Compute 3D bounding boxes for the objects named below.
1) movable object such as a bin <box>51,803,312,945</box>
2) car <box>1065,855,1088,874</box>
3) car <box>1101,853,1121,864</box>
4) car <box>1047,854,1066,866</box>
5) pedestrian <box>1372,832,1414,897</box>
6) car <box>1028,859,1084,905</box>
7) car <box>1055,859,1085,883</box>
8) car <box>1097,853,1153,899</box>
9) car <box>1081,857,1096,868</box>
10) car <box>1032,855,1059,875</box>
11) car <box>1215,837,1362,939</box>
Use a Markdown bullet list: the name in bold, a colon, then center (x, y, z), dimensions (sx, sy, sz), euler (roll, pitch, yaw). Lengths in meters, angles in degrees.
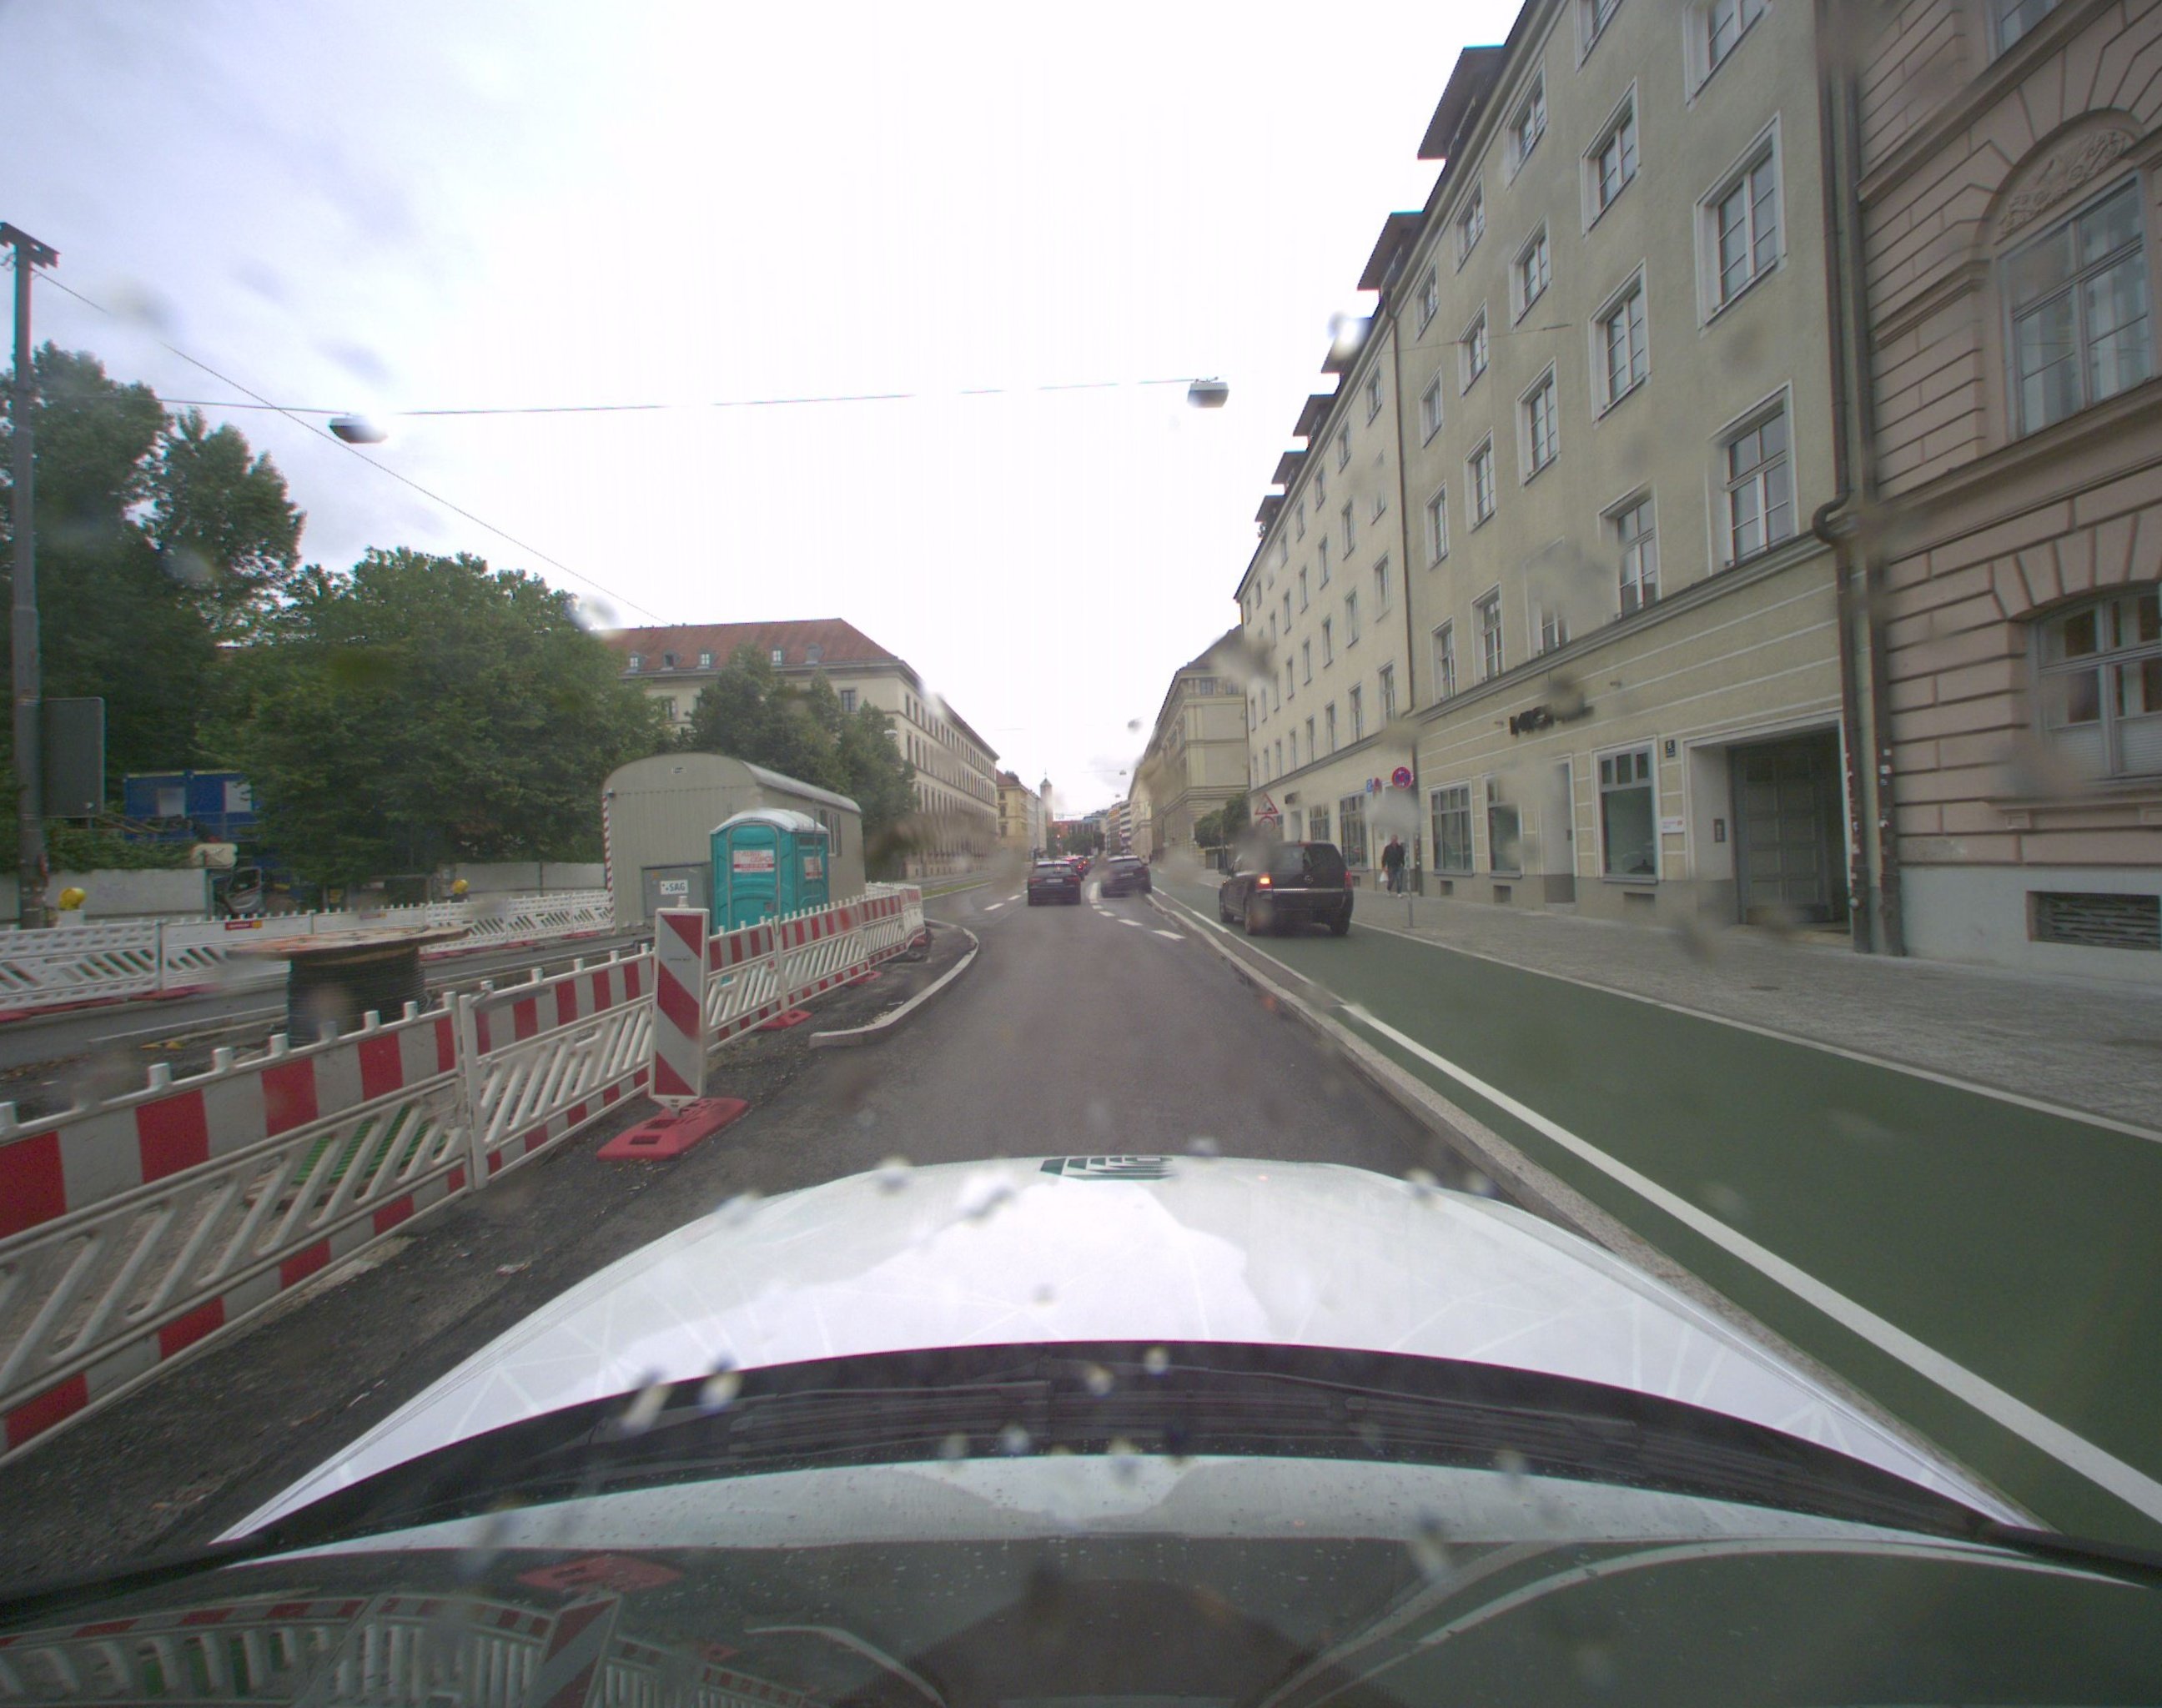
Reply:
- **movable object such as a bin**: center (-28.096, 0.585, 25.794), dimensions (2.457, 3.962, 5.066), euler (-2, 0, 0)
- **car**: center (-0.332, 0.838, 67.404), dimensions (1.723, 1.461, 4.001), euler (-1, 0, 1)
- **car**: center (5.638, 0.844, 151.157), dimensions (1.974, 1.750, 4.025), euler (-3, 0, 31)
- **car**: center (-3.050, 0.744, 102.009), dimensions (1.986, 1.444, 4.002), euler (-2, 0, 2)
- **pedestrian**: center (8.662, 0.299, 22.663), dimensions (0.790, 1.745, 0.834), euler (-2, 0, 2)
- **car**: center (-0.868, 0.878, 27.345), dimensions (1.726, 1.403, 3.996), euler (-1, 0, -3)
- **car**: center (-0.669, 1.043, 52.110), dimensions (1.723, 1.403, 4.001), euler (-1, 0, 1)
- **car**: center (1.626, 0.788, 31.597), dimensions (1.803, 1.480, 4.461), euler (-6, 0, 0)
- **car**: center (1.082, 1.114, 114.135), dimensions (1.986, 1.444, 4.002), euler (-2, 0, 2)
- **car**: center (-3.040, 0.974, 71.249), dimensions (1.986, 1.627, 4.002), euler (-2, 0, 2)
- **car**: center (3.666, 0.548, 15.099), dimensions (1.758, 1.616, 4.030), euler (-1, 0, 1)
